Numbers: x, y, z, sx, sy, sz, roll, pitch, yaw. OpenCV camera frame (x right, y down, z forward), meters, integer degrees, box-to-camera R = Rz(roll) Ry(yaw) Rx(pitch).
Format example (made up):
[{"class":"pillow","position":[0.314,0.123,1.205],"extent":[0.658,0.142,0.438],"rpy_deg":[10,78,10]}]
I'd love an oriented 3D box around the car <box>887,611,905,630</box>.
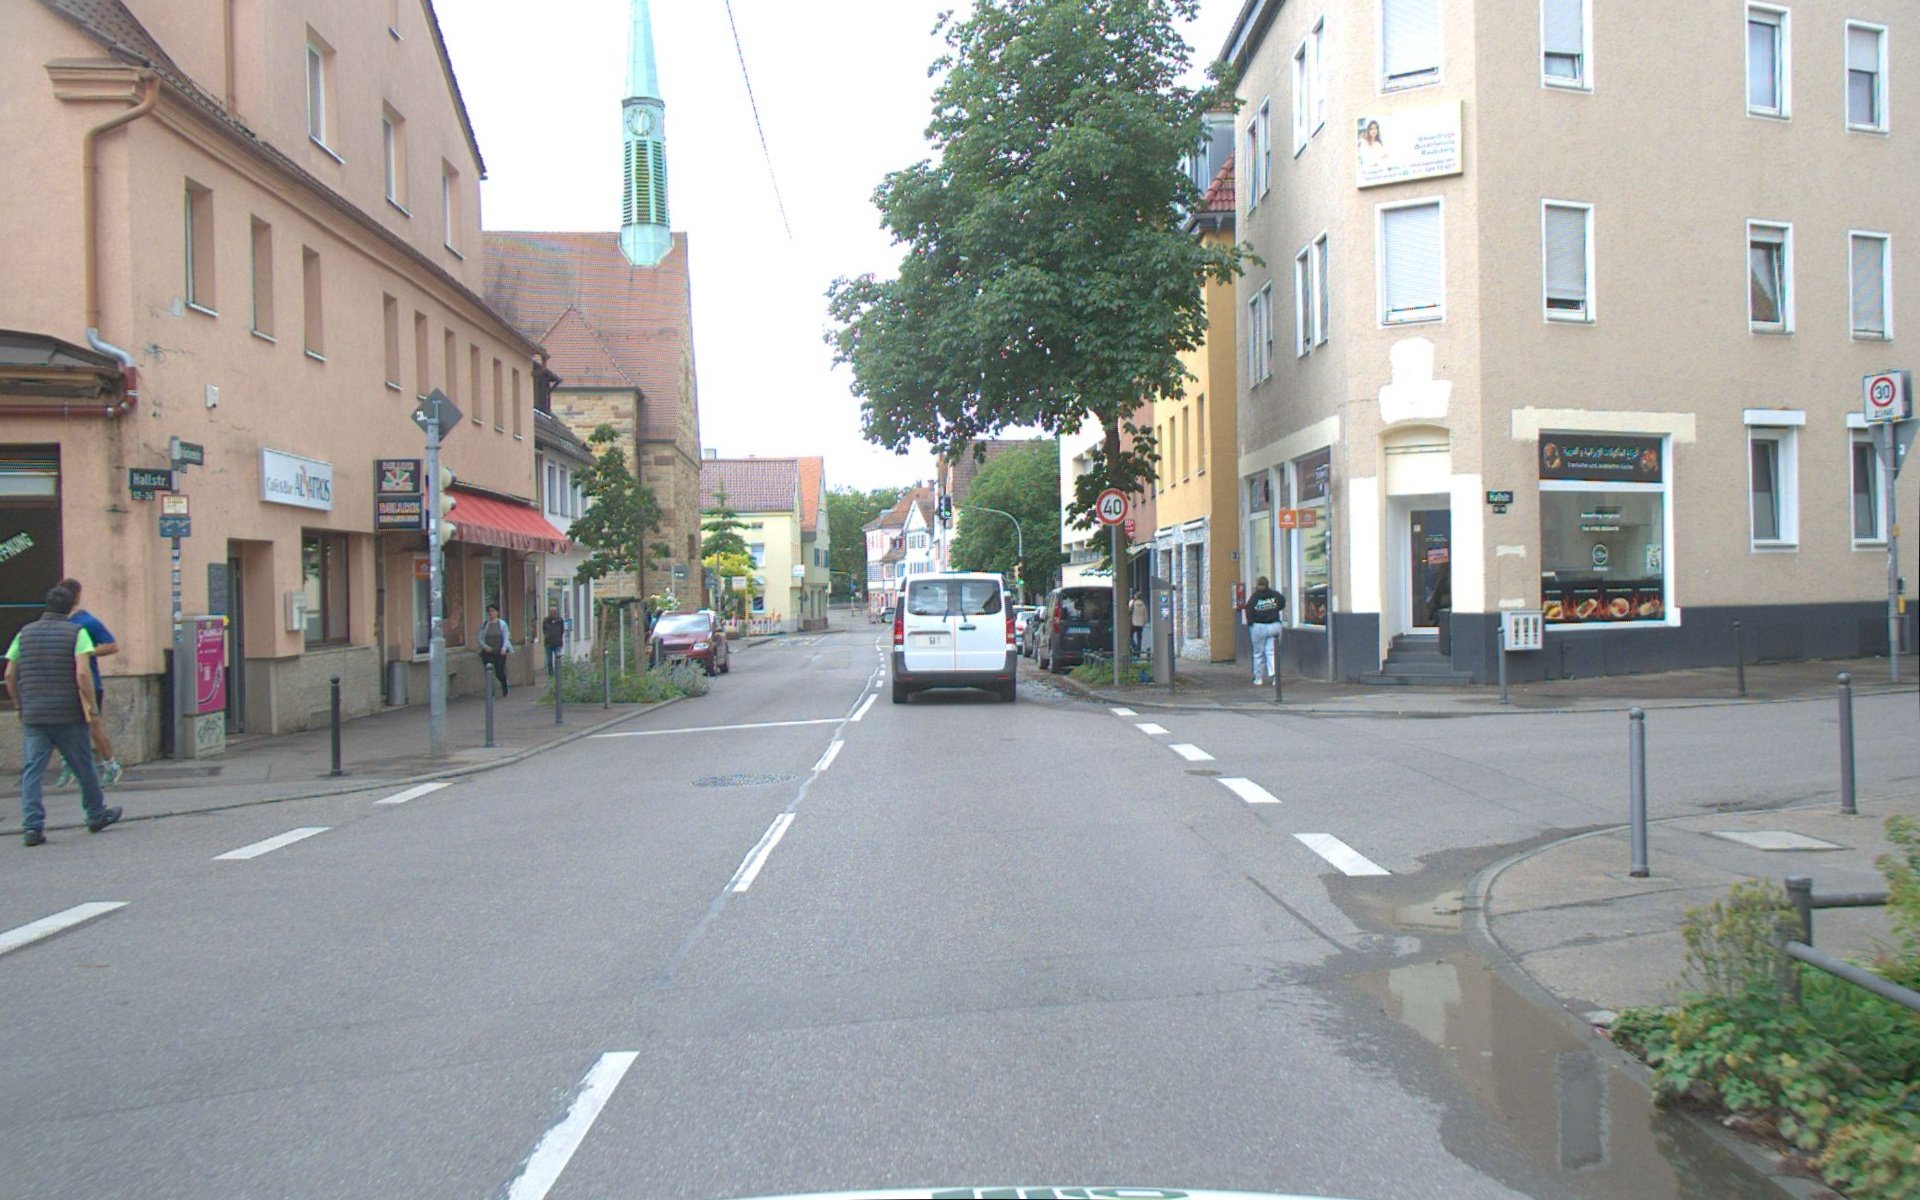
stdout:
[{"class":"car","position":[-7.078,2.279,181.575],"extent":[1.896,2.049,3.997],"rpy_deg":[0,-1,-3]}]

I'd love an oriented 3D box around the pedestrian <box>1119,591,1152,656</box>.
[{"class":"pedestrian","position":[4.619,0.604,43.551],"extent":[0.687,1.678,0.888],"rpy_deg":[-2,0,-3]}]

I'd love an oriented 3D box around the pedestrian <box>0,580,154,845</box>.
[{"class":"pedestrian","position":[-6.273,0.759,11.659],"extent":[0.724,1.785,0.982],"rpy_deg":[0,0,-3]}]

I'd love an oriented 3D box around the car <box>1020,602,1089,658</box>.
[{"class":"car","position":[2.777,0.880,49.384],"extent":[1.570,1.545,4.206],"rpy_deg":[-2,-1,-3]}]

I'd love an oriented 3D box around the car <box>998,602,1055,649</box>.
[{"class":"car","position":[2.353,0.905,59.384],"extent":[1.677,1.588,3.783],"rpy_deg":[-1,-1,-3]}]

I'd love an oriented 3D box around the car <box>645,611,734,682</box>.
[{"class":"car","position":[-6.874,1.132,42.329],"extent":[1.669,1.601,4.448],"rpy_deg":[-3,0,-3]}]

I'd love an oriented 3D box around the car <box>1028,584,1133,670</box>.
[{"class":"car","position":[2.669,0.609,37.466],"extent":[1.783,1.812,4.399],"rpy_deg":[-1,-1,-4]}]

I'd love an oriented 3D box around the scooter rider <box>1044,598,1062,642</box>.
[{"class":"scooter rider","position":[3.650,0.785,65.066],"extent":[0.445,1.660,0.502],"rpy_deg":[-3,-2,-17]}]

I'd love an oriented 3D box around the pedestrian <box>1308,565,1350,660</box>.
[{"class":"pedestrian","position":[6.237,0.213,27.966],"extent":[0.555,1.588,0.556],"rpy_deg":[0,-1,-2]}]

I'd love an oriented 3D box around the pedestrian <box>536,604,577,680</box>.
[{"class":"pedestrian","position":[-9.005,0.919,36.871],"extent":[0.721,1.657,0.752],"rpy_deg":[-1,0,-27]}]

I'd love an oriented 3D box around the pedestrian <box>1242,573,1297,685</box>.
[{"class":"pedestrian","position":[4.785,0.438,25.611],"extent":[0.602,1.682,0.982],"rpy_deg":[-1,0,-3]}]

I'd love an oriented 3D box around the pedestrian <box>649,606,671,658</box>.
[{"class":"pedestrian","position":[-9.226,0.992,50.899],"extent":[0.559,1.582,0.696],"rpy_deg":[1,-1,-2]}]

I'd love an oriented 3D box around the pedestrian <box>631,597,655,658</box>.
[{"class":"pedestrian","position":[-9.885,0.857,51.558],"extent":[0.559,1.880,0.696],"rpy_deg":[2,-1,-2]}]

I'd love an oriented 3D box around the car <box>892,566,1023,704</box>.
[{"class":"car","position":[-0.081,0.504,25.514],"extent":[1.835,1.945,3.999],"rpy_deg":[-1,0,-1]}]

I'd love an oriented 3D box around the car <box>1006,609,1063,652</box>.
[{"class":"car","position":[2.437,0.998,54.730],"extent":[1.520,1.356,3.810],"rpy_deg":[-1,-1,-3]}]

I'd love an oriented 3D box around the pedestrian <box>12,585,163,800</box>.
[{"class":"pedestrian","position":[-7.390,0.752,14.058],"extent":[0.724,1.748,1.155],"rpy_deg":[0,0,-4]}]

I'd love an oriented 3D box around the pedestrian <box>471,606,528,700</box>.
[{"class":"pedestrian","position":[-7.863,0.887,28.276],"extent":[0.724,1.562,0.982],"rpy_deg":[0,0,-3]}]

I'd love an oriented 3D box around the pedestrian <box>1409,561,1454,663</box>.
[{"class":"pedestrian","position":[7.398,0.185,25.967],"extent":[0.555,1.588,0.520],"rpy_deg":[0,-1,-2]}]
